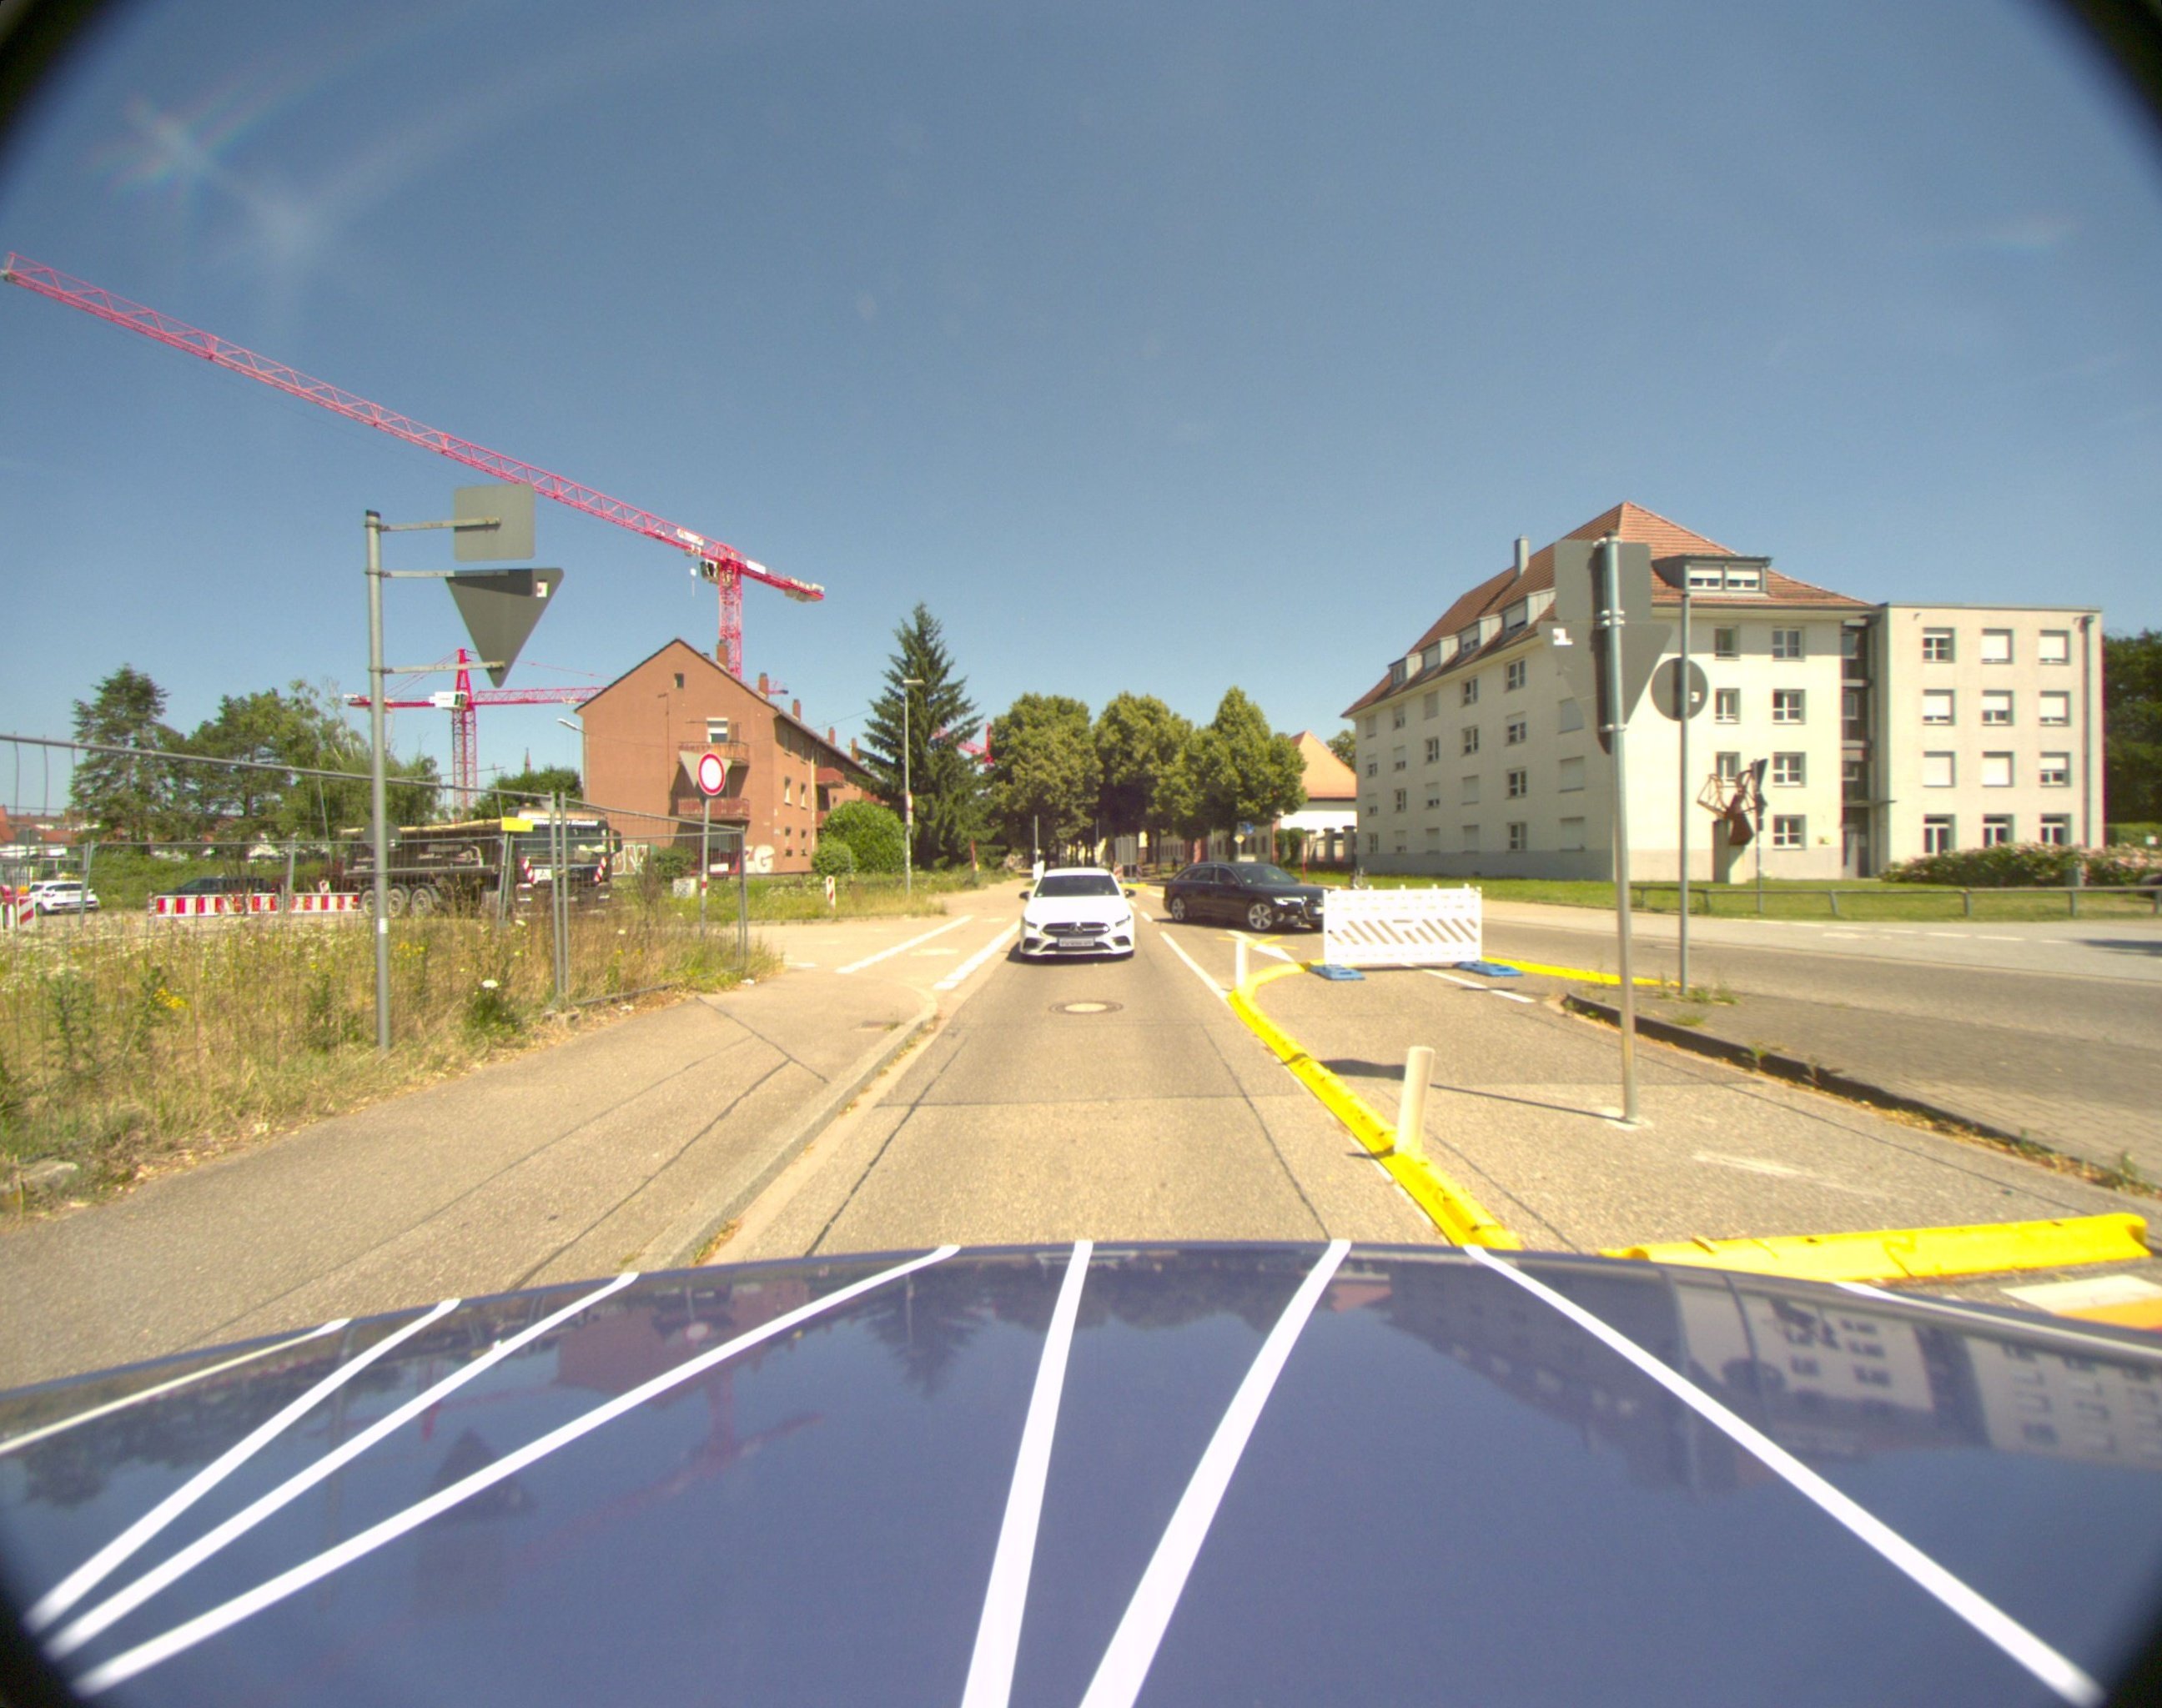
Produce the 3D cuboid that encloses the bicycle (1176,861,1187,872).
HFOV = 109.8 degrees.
[{"bbox_3d":[8.688,1.079,65.821,0.562,0.910,1.907,-1,0,-5],"label":"bicycle"}]

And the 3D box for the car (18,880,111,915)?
[{"bbox_3d":[-45.558,1.934,34.057,2.785,1.398,1.419,0,2,13],"label":"car"}]

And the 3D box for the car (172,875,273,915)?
[{"bbox_3d":[-36.078,1.709,31.944,3.412,1.604,1.372,-1,0,14],"label":"car"}]

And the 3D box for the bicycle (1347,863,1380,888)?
[{"bbox_3d":[12.802,0.978,34.466,0.709,1.018,1.985,-3,0,1],"label":"bicycle"}]

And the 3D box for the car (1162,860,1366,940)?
[{"bbox_3d":[3.787,0.906,16.628,1.804,1.443,4.609,-2,0,-25],"label":"car"}]

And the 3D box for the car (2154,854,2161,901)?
[{"bbox_3d":[31.269,0.643,19.625,1.659,1.319,3.806,-1,0,-5],"label":"car"}]

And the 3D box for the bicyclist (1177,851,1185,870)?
[{"bbox_3d":[8.682,0.556,65.865,0.568,1.601,0.740,-1,0,-5],"label":"bicyclist"}]

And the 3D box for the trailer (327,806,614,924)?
[{"bbox_3d":[-20.540,0.377,25.586,8.972,3.512,3.169,-1,0,19],"label":"trailer"}]

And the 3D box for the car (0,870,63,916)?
[{"bbox_3d":[-50.487,1.801,35.185,4.677,2.002,1.785,-1,0,6],"label":"car"}]

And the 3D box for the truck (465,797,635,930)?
[{"bbox_3d":[-16.048,0.281,22.877,4.950,3.512,3.171,-1,0,43],"label":"truck"}]

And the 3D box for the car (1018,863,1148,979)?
[{"bbox_3d":[-0.011,0.984,12.850,1.780,1.536,3.963,-3,0,-1],"label":"car"}]

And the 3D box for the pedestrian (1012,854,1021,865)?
[{"bbox_3d":[-8.926,0.771,105.142,1.024,1.509,0.682,-1,0,1],"label":"pedestrian"}]
